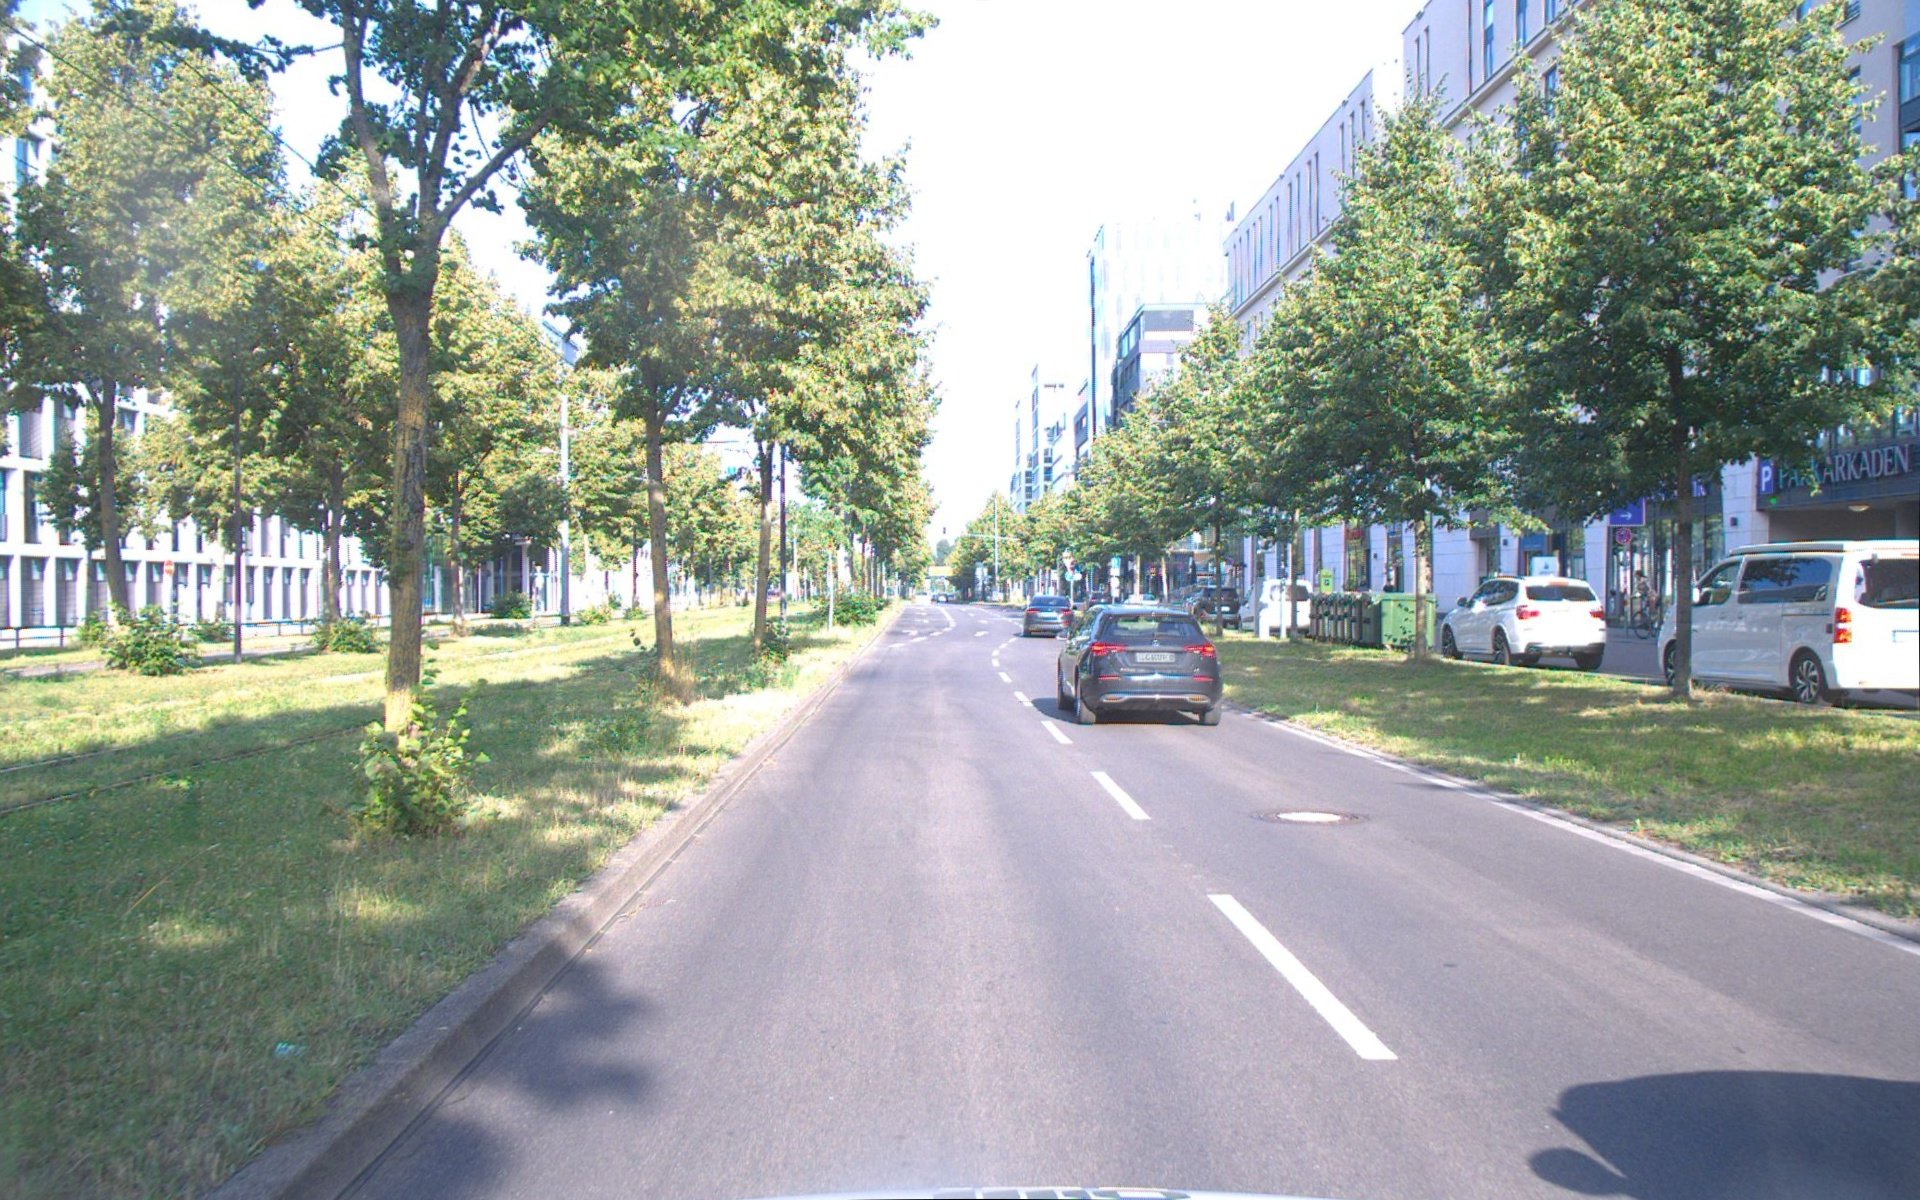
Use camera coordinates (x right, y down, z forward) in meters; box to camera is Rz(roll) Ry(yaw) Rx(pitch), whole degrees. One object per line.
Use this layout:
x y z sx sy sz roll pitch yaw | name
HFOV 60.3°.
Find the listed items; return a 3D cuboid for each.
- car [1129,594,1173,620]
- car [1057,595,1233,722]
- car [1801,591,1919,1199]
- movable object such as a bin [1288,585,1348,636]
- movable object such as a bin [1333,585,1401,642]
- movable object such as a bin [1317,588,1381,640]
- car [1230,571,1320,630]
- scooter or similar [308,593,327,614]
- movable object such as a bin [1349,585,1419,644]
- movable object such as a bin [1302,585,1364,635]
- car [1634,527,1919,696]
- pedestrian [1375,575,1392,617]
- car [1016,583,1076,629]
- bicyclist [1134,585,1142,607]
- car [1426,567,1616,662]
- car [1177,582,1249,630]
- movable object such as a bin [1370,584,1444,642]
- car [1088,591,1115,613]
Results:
9.839 0.349 85.553 1.674 1.264 3.903 1 0 -2 | car
2.270 0.685 21.216 1.738 1.449 3.960 1 0 -1 | car
2.799 0.717 1.948 1.528 1.449 3.906 1 0 -2 | car
9.503 0.276 43.976 1.252 1.314 1.177 1 0 -5 | movable object such as a bin
9.820 0.330 39.949 1.252 1.341 1.190 1 0 -5 | movable object such as a bin
9.707 0.350 41.325 1.252 1.258 1.190 1 0 -5 | movable object such as a bin
9.965 0.019 52.616 1.791 1.741 4.292 1 0 -4 | car
-37.705 0.214 97.051 0.328 1.247 1.300 1 0 12 | scooter or similar
9.896 0.327 38.605 1.252 1.325 1.190 1 0 -5 | movable object such as a bin
9.621 0.256 42.748 1.252 1.258 1.190 1 0 -5 | movable object such as a bin
10.803 0.146 21.405 1.801 1.909 5.027 1 0 -4 | car
18.362 -0.185 71.648 0.526 1.793 0.646 1 0 -1 | pedestrian
2.985 0.208 58.060 1.822 1.551 3.784 1 0 -1 | car
14.444 -0.336 134.217 0.563 1.737 0.540 1 -1 -5 | bicyclist
10.590 0.238 31.619 1.696 1.658 4.846 -1 0 -4 | car
9.847 0.204 64.752 1.859 1.738 4.675 1 1 -3 | car
10.035 0.297 37.105 1.371 1.258 1.334 1 0 26 | movable object such as a bin
9.106 0.135 106.636 1.573 1.394 4.159 1 0 3 | car
